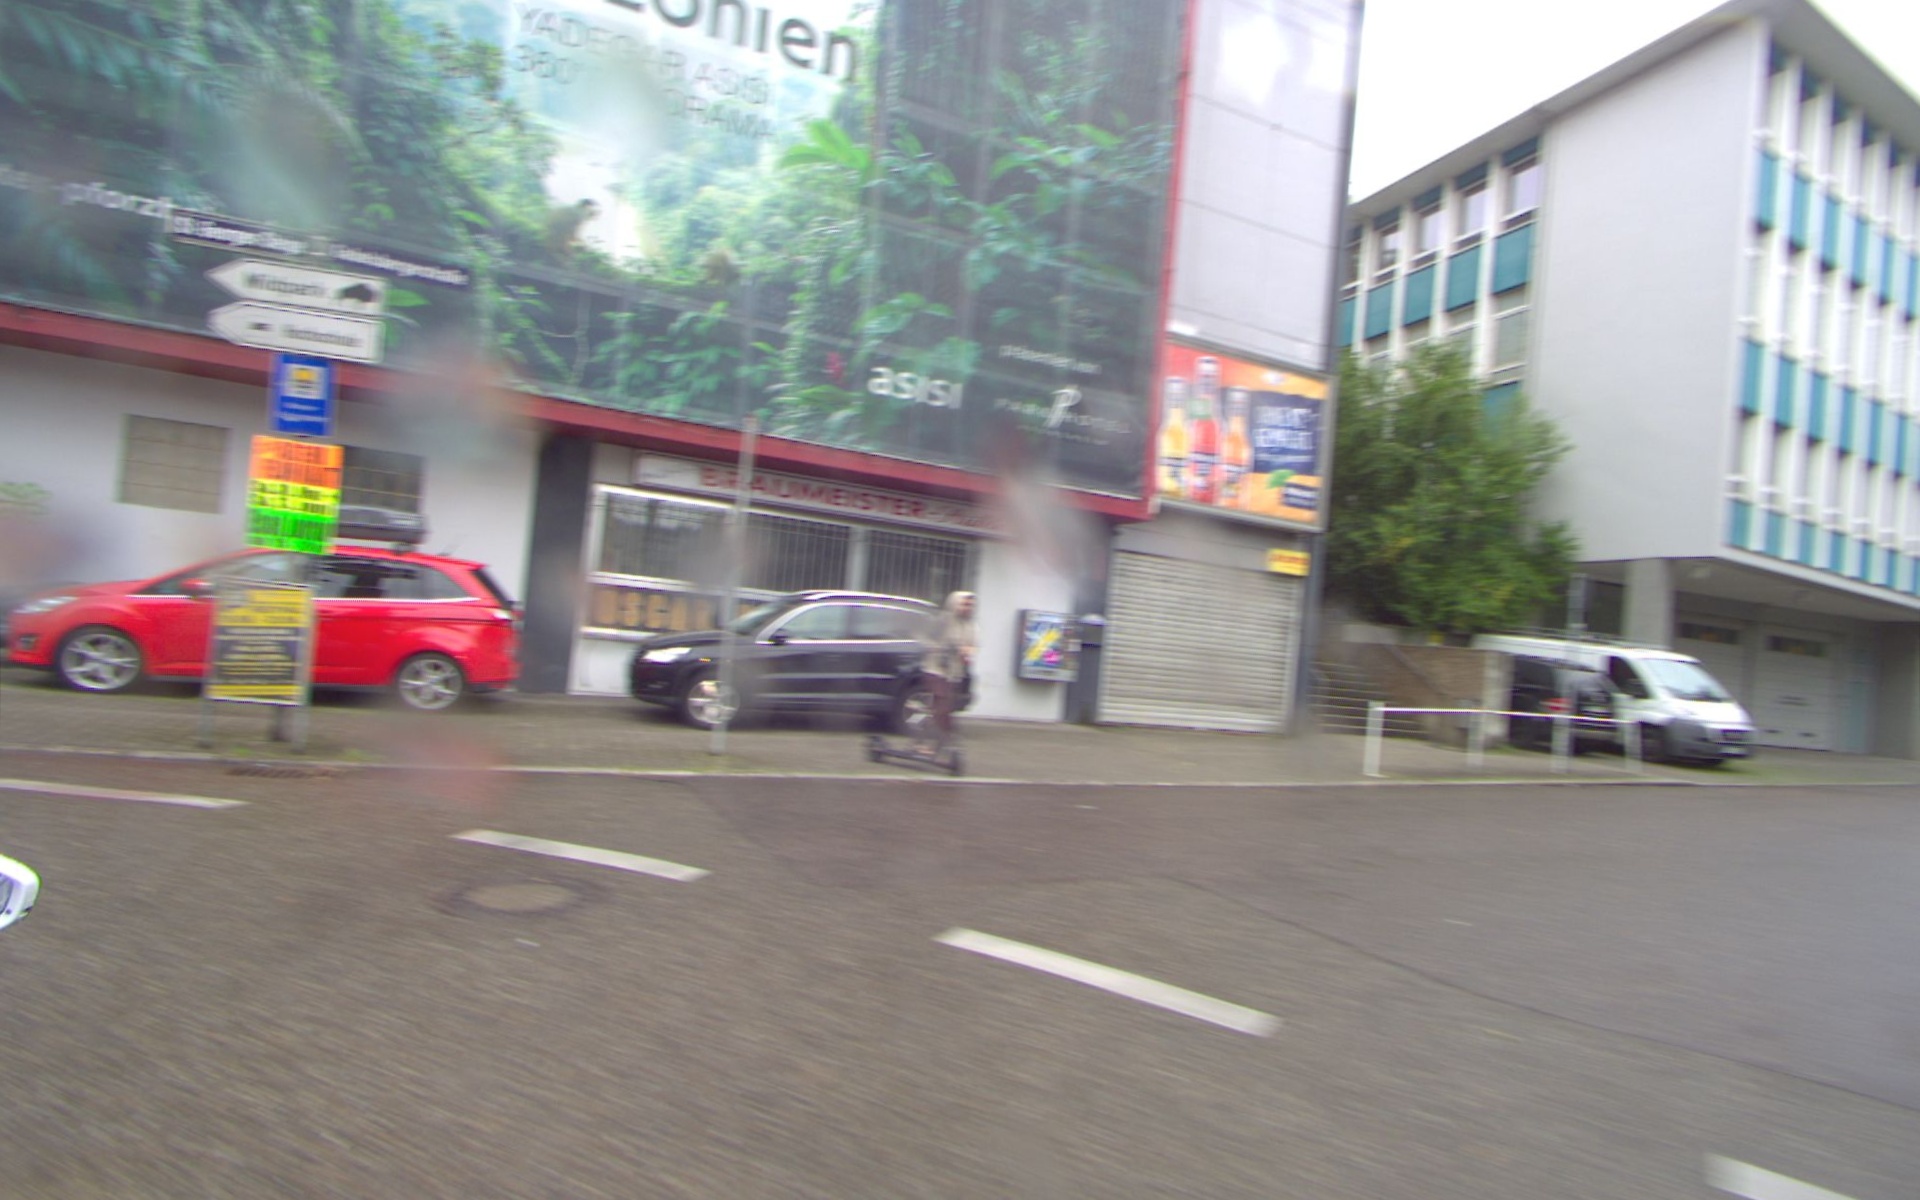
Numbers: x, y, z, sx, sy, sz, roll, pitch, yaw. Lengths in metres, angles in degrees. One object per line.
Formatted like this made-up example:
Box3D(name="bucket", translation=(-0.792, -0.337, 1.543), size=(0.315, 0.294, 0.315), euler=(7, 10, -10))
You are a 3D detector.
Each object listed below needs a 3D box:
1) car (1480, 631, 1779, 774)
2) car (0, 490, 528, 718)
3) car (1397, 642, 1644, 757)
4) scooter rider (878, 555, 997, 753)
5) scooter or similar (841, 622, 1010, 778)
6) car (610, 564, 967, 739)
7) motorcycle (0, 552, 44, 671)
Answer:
Box3D(name="car", translation=(13.510, 1.973, 20.758), size=(1.855, 2.239, 4.872), euler=(5, 1, -19))
Box3D(name="car", translation=(-7.094, 0.103, 10.656), size=(4.432, 1.732, 1.923), euler=(7, -1, -23))
Box3D(name="car", translation=(11.002, 1.899, 20.107), size=(1.855, 1.714, 3.983), euler=(5, 1, -19))
Box3D(name="scooter rider", translation=(-0.215, 0.531, 10.182), size=(0.767, 1.844, 0.804), euler=(7, 2, 22))
Box3D(name="scooter or similar", translation=(-0.347, 0.974, 10.230), size=(1.383, 1.339, 0.804), euler=(7, 1, 22))
Box3D(name="car", translation=(-2.159, 0.631, 12.509), size=(3.945, 1.733, 1.922), euler=(6, 1, -23))
Box3D(name="motorcycle", translation=(-10.135, 0.050, 9.975), size=(1.410, 1.174, 0.448), euler=(7, -2, -36))
